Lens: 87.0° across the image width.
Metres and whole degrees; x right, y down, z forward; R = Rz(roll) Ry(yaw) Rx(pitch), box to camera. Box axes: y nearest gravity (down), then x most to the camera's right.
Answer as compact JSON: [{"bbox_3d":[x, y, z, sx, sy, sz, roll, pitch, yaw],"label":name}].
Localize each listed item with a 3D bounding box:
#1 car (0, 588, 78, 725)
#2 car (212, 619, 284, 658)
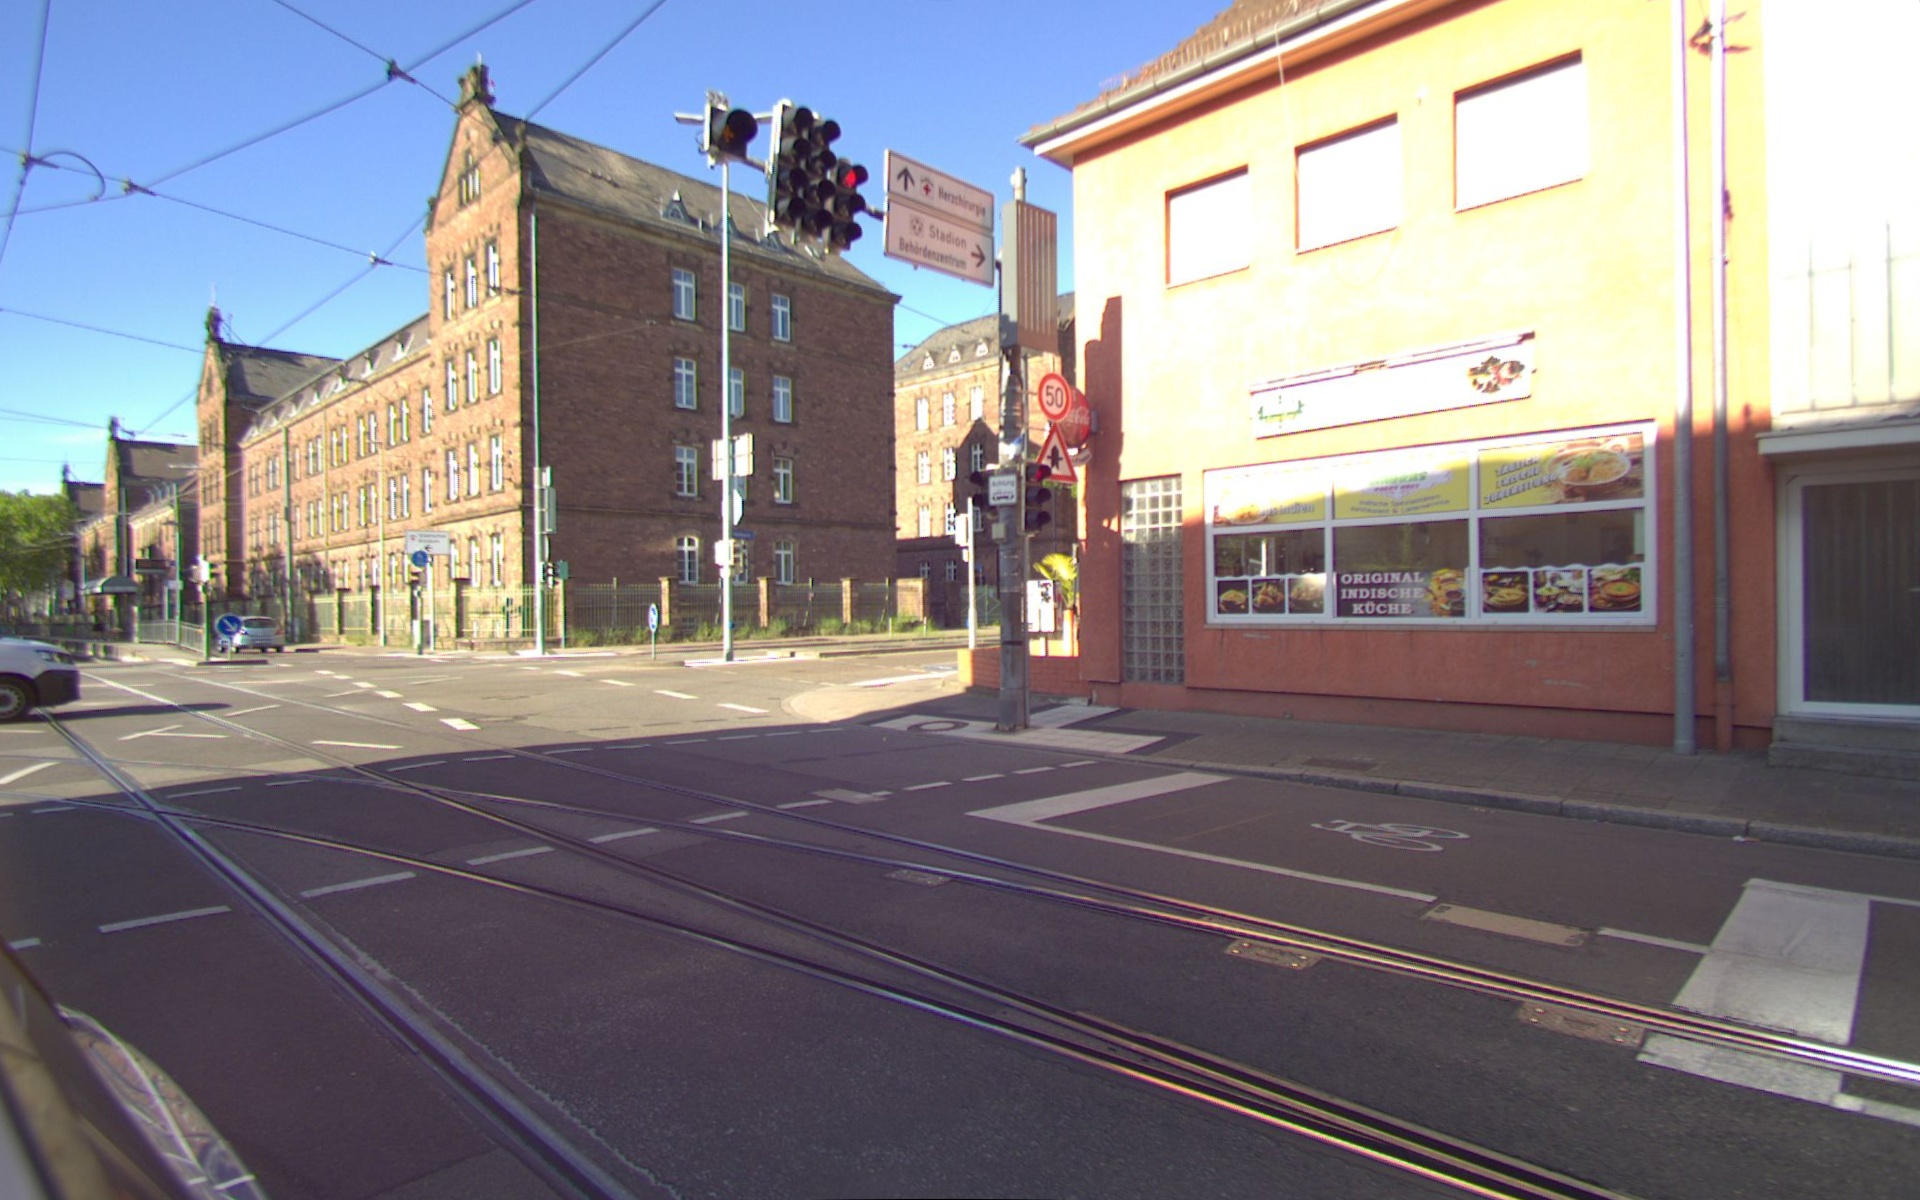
[{"bbox_3d":[-14.517,0.755,13.015,1.858,1.812,4.631,2,1,42],"label":"car"},{"bbox_3d":[-28.850,1.521,40.963,4.117,1.454,1.717,-2,-1,45],"label":"car"}]
